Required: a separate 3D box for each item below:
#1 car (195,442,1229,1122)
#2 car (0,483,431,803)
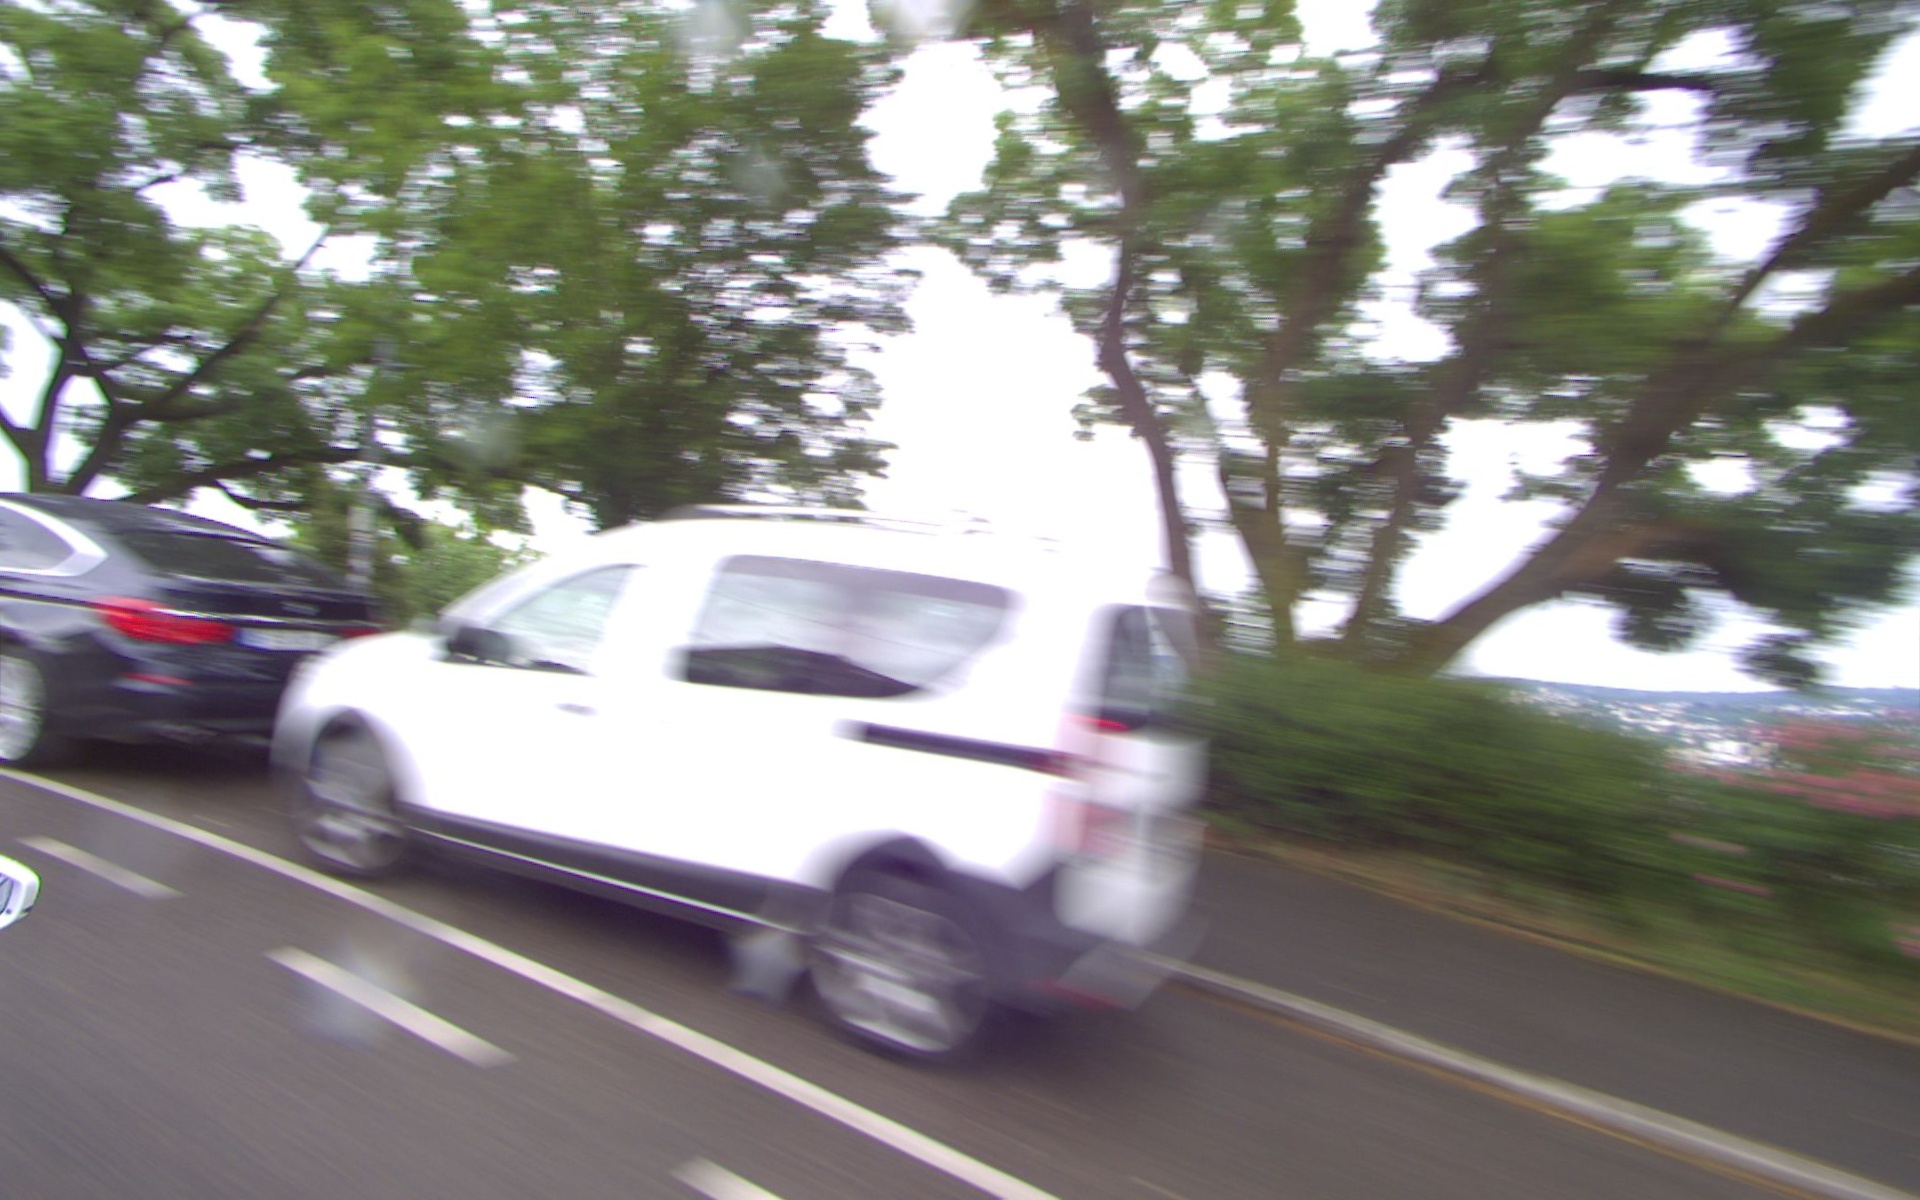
[{"bbox_3d":[-1.187,0.455,4.670,4.343,1.844,1.751,7,1,23],"label":"car"},{"bbox_3d":[-6.225,0.047,6.898,4.805,1.561,1.866,7,-1,23],"label":"car"}]
